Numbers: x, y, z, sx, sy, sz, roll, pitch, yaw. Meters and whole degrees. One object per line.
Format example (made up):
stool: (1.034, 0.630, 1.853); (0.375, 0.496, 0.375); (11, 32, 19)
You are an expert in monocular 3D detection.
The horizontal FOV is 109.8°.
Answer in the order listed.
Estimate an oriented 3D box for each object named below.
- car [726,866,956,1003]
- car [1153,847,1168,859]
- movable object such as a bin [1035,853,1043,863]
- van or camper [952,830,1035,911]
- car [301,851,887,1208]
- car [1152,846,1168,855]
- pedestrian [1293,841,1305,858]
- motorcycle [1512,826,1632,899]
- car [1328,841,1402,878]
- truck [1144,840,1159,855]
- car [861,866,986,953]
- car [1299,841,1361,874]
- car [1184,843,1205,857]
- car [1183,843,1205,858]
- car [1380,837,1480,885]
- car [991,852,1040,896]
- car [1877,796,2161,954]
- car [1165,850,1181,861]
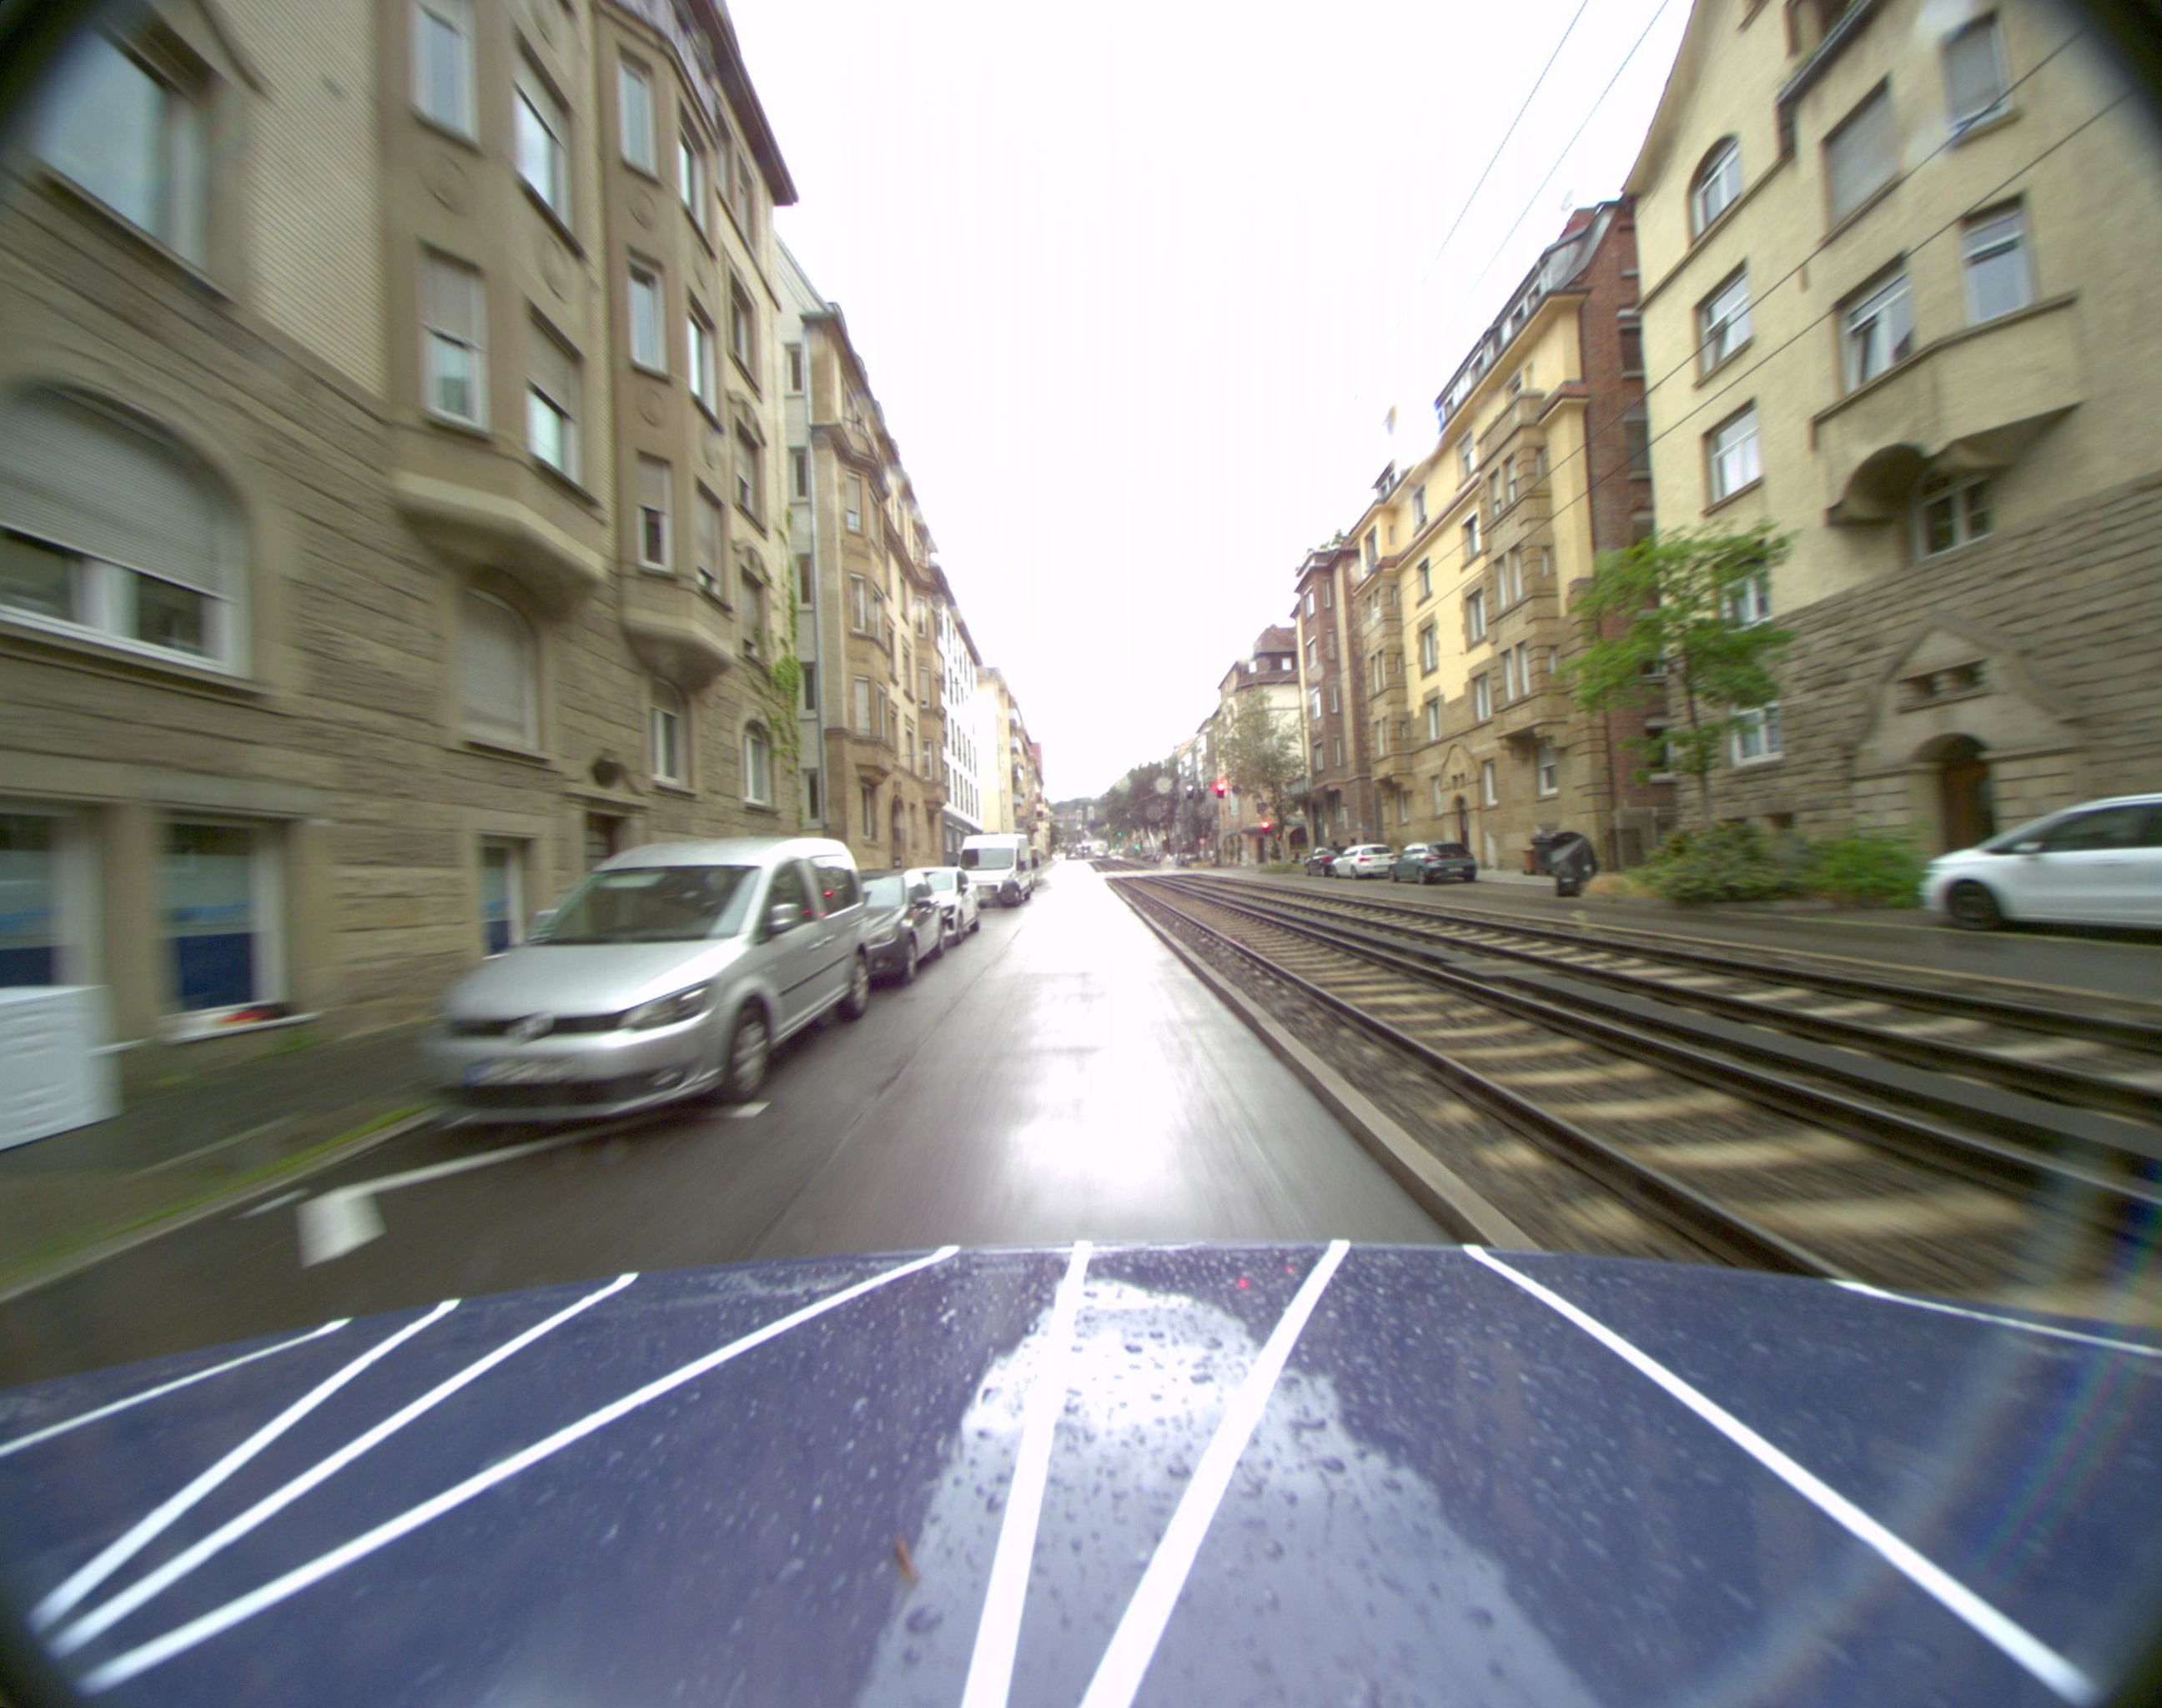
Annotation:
car: (-3.141, 0.976, 10.911); (1.999, 1.433, 3.999); (-2, 1, -1)
car: (11.896, -0.172, 113.972); (1.781, 1.560, 4.157); (-3, 1, -1)
movable object such as a bin: (-5.878, 0.561, 105.700); (1.011, 1.443, 1.393); (-1, 1, 0)
van or camper: (-2.911, 0.488, 26.858); (2.069, 2.455, 6.118); (-3, 1, 0)
car: (-3.048, 0.900, 6.073); (1.779, 1.766, 4.360); (-2, 0, 0)
car: (12.557, -0.568, 121.249); (1.911, 1.432, 4.468); (-3, 1, -1)
pedestrian: (19.621, -0.399, 68.509); (0.819, 1.407, 0.721); (-3, 1, 4)
motorcycle: (12.210, 0.194, 18.939); (2.268, 1.633, 1.291); (-4, 0, -17)
car: (12.239, 0.194, 32.981); (1.671, 1.417, 4.262); (-3, 1, 2)
truck: (12.549, -1.150, 135.416); (2.197, 2.333, 6.350); (-2, 2, 2)
car: (-3.044, 1.017, 15.507); (1.680, 1.403, 4.000); (-3, 0, -1)
car: (12.440, 0.138, 38.176); (1.769, 1.477, 3.999); (-3, 1, 1)
car: (13.140, -0.446, 88.302); (1.812, 1.489, 3.525); (-3, 0, 0)
car: (12.501, -0.399, 84.173); (1.769, 1.543, 3.894); (-3, 1, 0)
car: (12.254, 0.215, 26.977); (1.565, 1.429, 4.145); (-5, 1, 1)
car: (-2.965, 0.874, 35.355); (1.773, 1.797, 4.482); (-4, 0, 0)
car: (11.877, 0.173, 8.113); (1.790, 1.580, 4.347); (-4, 0, -10)
car: (12.401, 0.213, 102.646); (1.706, 1.328, 4.129); (-5, 1, 0)
